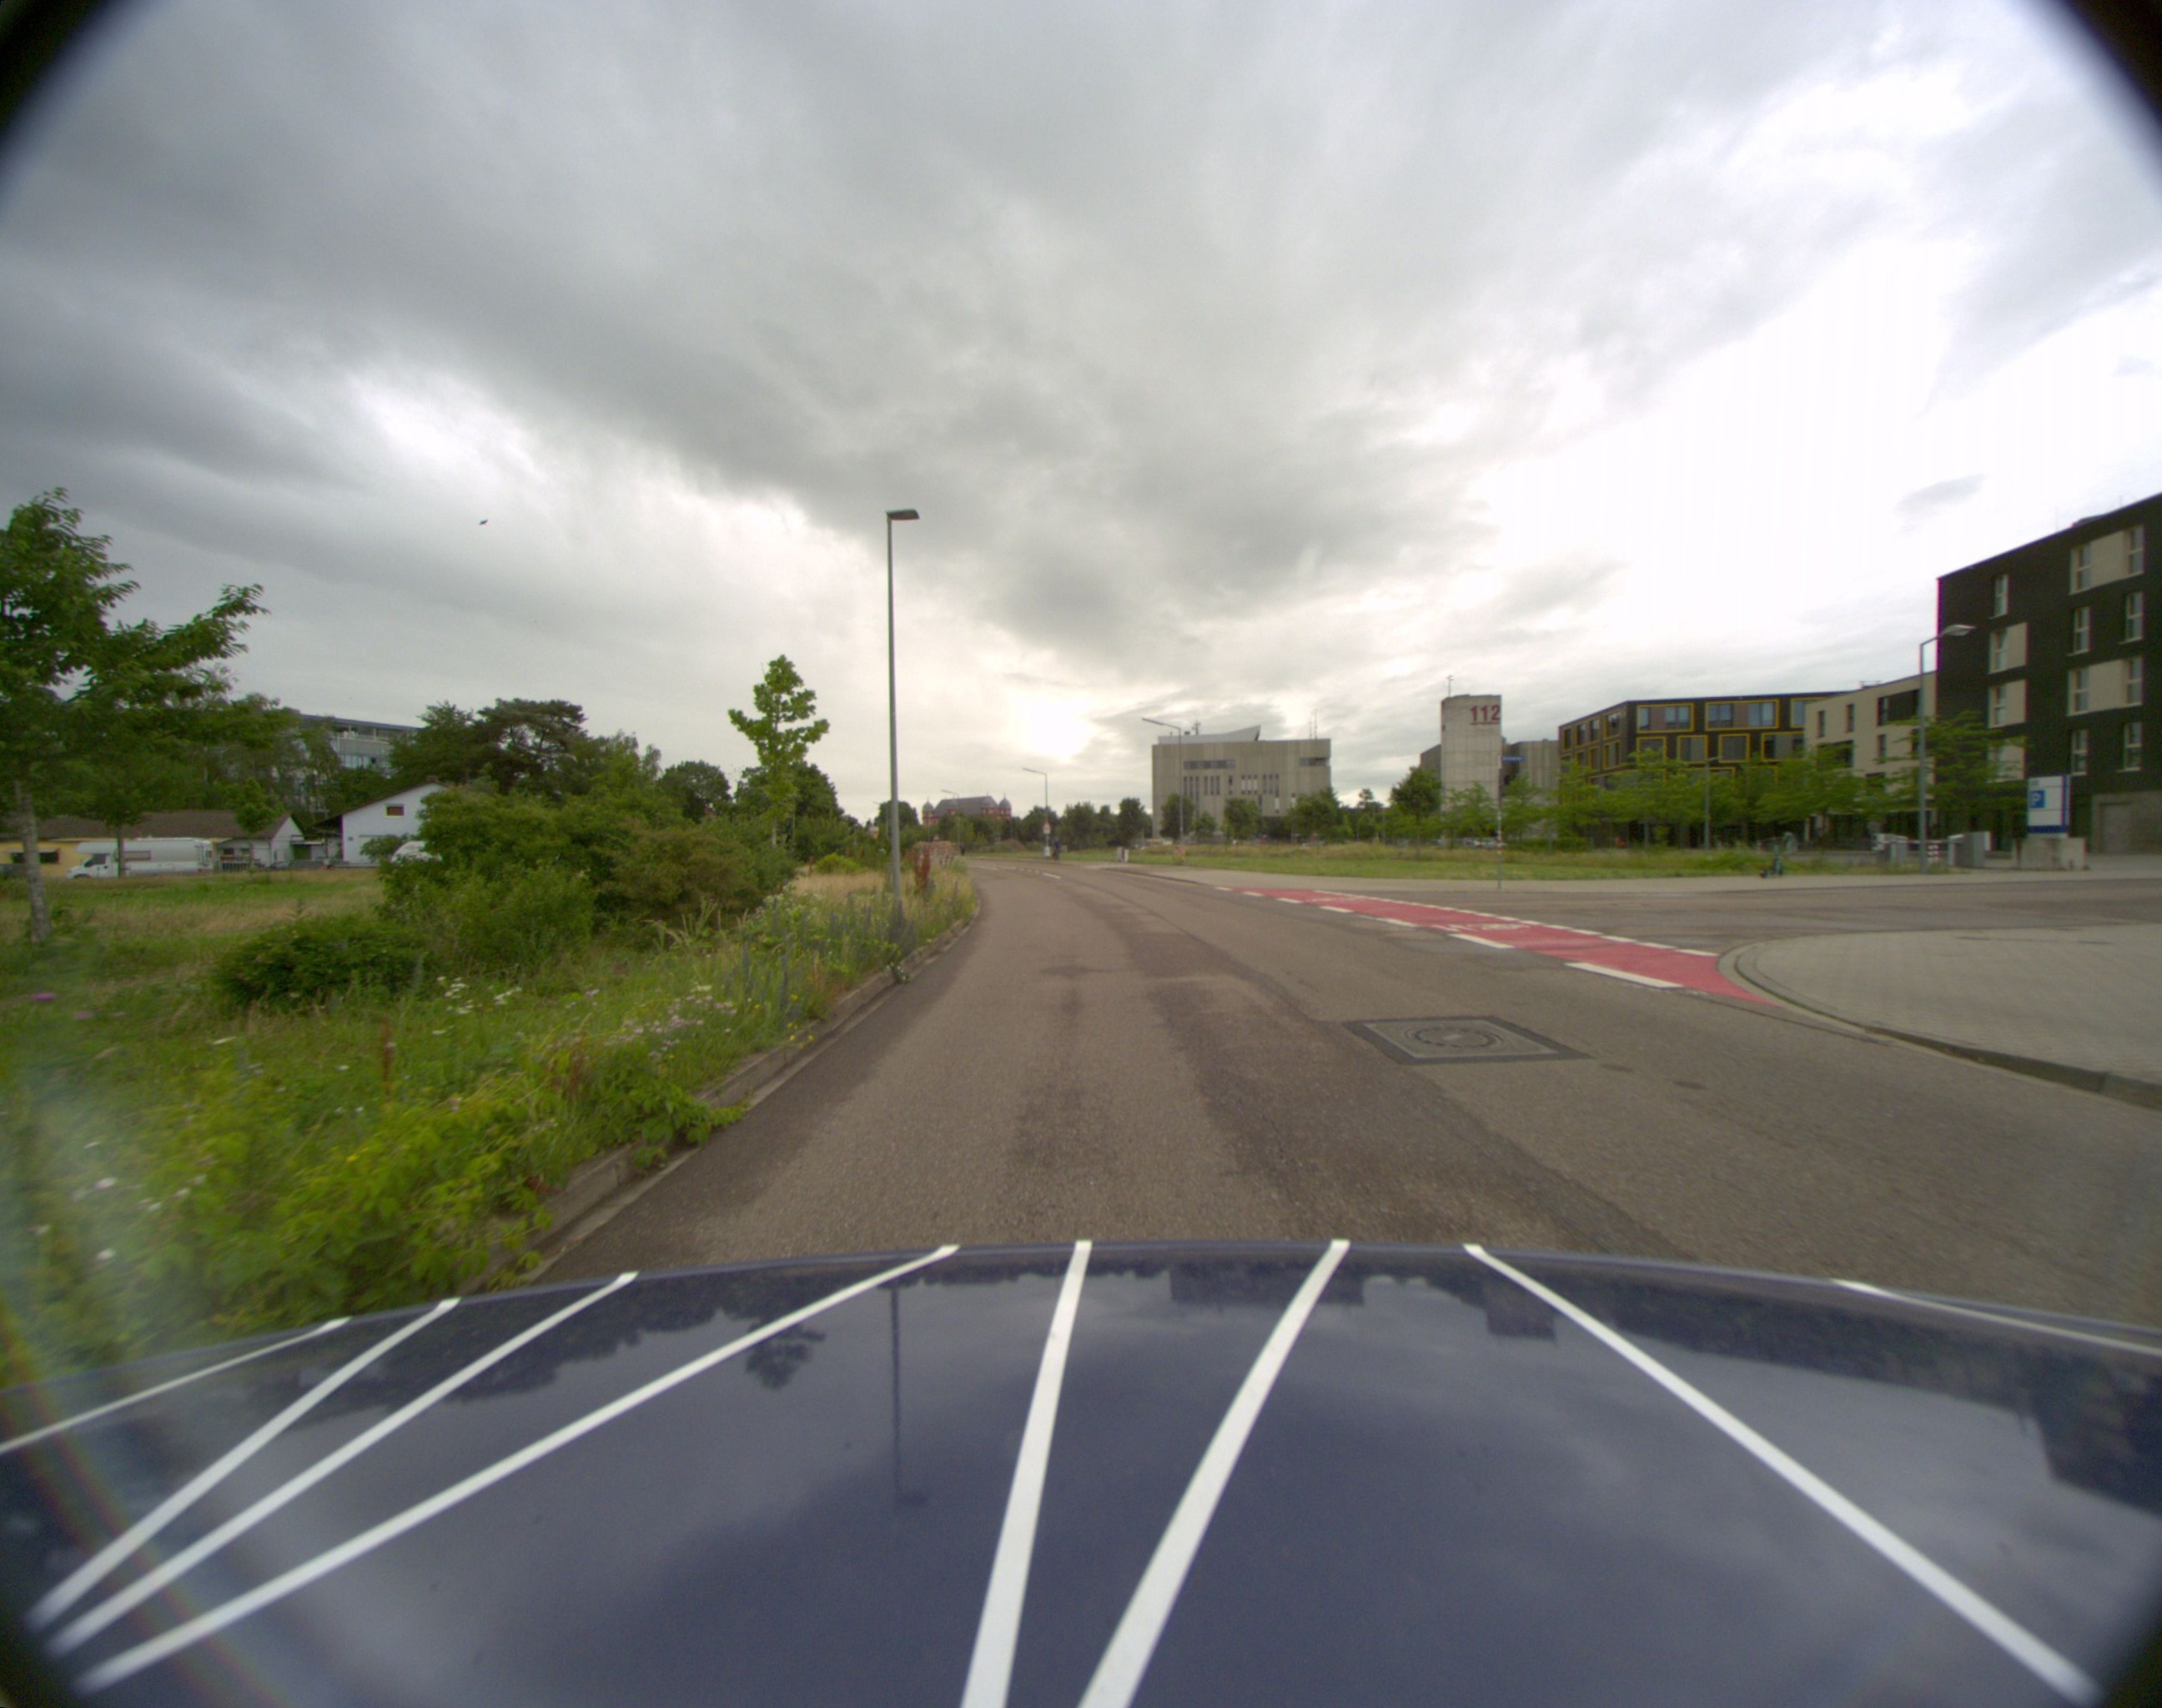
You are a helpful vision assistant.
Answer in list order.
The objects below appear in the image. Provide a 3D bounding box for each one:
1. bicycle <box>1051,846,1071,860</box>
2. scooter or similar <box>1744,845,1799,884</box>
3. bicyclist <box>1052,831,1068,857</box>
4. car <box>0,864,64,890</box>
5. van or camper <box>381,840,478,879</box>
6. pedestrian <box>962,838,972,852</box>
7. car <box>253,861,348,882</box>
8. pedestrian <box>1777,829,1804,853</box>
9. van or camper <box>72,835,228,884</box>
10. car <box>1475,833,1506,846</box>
[{"bbox_3d":[-1.625,-0.058,61.143,0.887,1.046,2.465,-1,0,-20],"label":"bicycle"},{"bbox_3d":[21.624,0.305,23.800,1.468,1.162,0.571,-2,2,-14],"label":"scooter or similar"},{"bbox_3d":[-1.708,-0.795,61.306,0.865,2.002,1.175,-1,0,-22],"label":"bicyclist"},{"bbox_3d":[-67.321,1.455,47.518,3.940,1.564,1.996,-1,-2,-29],"label":"car"},{"bbox_3d":[-49.394,0.409,57.782,5.187,2.815,2.411,-1,0,-29],"label":"van or camper"},{"bbox_3d":[-14.839,-1.144,98.921,0.848,1.772,1.074,-1,0,-30],"label":"pedestrian"},{"bbox_3d":[-55.422,1.205,54.068,4.297,1.377,1.908,-1,1,-31],"label":"car"},{"bbox_3d":[45.745,-0.827,48.981,0.954,1.561,0.875,-1,0,-5],"label":"pedestrian"},{"bbox_3d":[-61.718,0.339,50.571,6.084,3.093,2.266,-1,0,-31],"label":"van or camper"},{"bbox_3d":[49.688,-1.758,92.347,1.997,1.514,4.002,1,0,7],"label":"car"}]
